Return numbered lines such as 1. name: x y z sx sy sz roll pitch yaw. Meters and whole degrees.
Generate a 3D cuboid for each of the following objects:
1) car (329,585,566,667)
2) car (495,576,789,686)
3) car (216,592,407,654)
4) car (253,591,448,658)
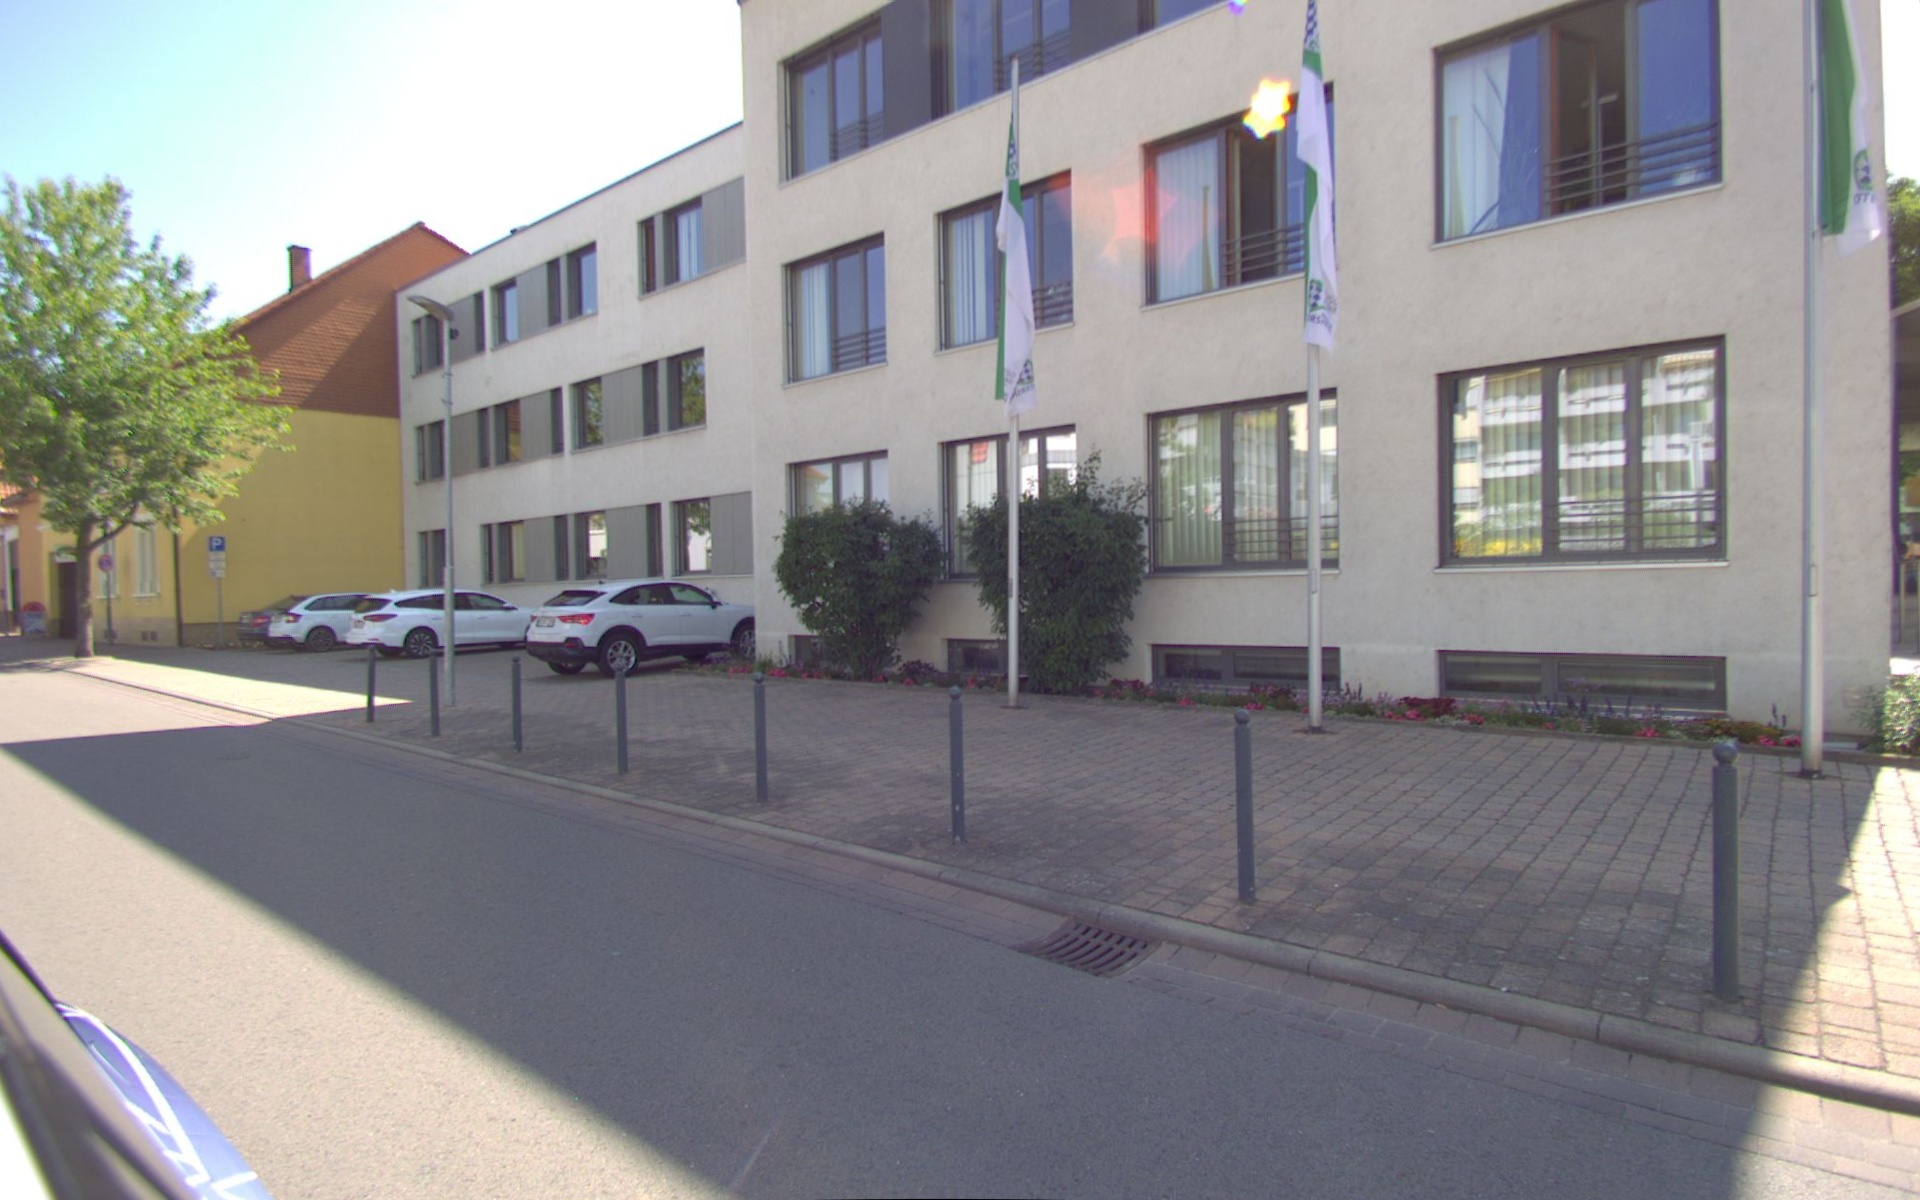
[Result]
1. car: -11.652 0.500 23.274 1.933 1.565 4.459 1 3 40
2. car: -5.431 0.434 17.786 2.145 1.565 4.463 -1 2 38
3. car: -17.773 0.599 27.876 1.968 1.442 3.952 -2 1 36
4. car: -15.724 0.599 26.268 1.806 1.462 3.947 -1 1 40
